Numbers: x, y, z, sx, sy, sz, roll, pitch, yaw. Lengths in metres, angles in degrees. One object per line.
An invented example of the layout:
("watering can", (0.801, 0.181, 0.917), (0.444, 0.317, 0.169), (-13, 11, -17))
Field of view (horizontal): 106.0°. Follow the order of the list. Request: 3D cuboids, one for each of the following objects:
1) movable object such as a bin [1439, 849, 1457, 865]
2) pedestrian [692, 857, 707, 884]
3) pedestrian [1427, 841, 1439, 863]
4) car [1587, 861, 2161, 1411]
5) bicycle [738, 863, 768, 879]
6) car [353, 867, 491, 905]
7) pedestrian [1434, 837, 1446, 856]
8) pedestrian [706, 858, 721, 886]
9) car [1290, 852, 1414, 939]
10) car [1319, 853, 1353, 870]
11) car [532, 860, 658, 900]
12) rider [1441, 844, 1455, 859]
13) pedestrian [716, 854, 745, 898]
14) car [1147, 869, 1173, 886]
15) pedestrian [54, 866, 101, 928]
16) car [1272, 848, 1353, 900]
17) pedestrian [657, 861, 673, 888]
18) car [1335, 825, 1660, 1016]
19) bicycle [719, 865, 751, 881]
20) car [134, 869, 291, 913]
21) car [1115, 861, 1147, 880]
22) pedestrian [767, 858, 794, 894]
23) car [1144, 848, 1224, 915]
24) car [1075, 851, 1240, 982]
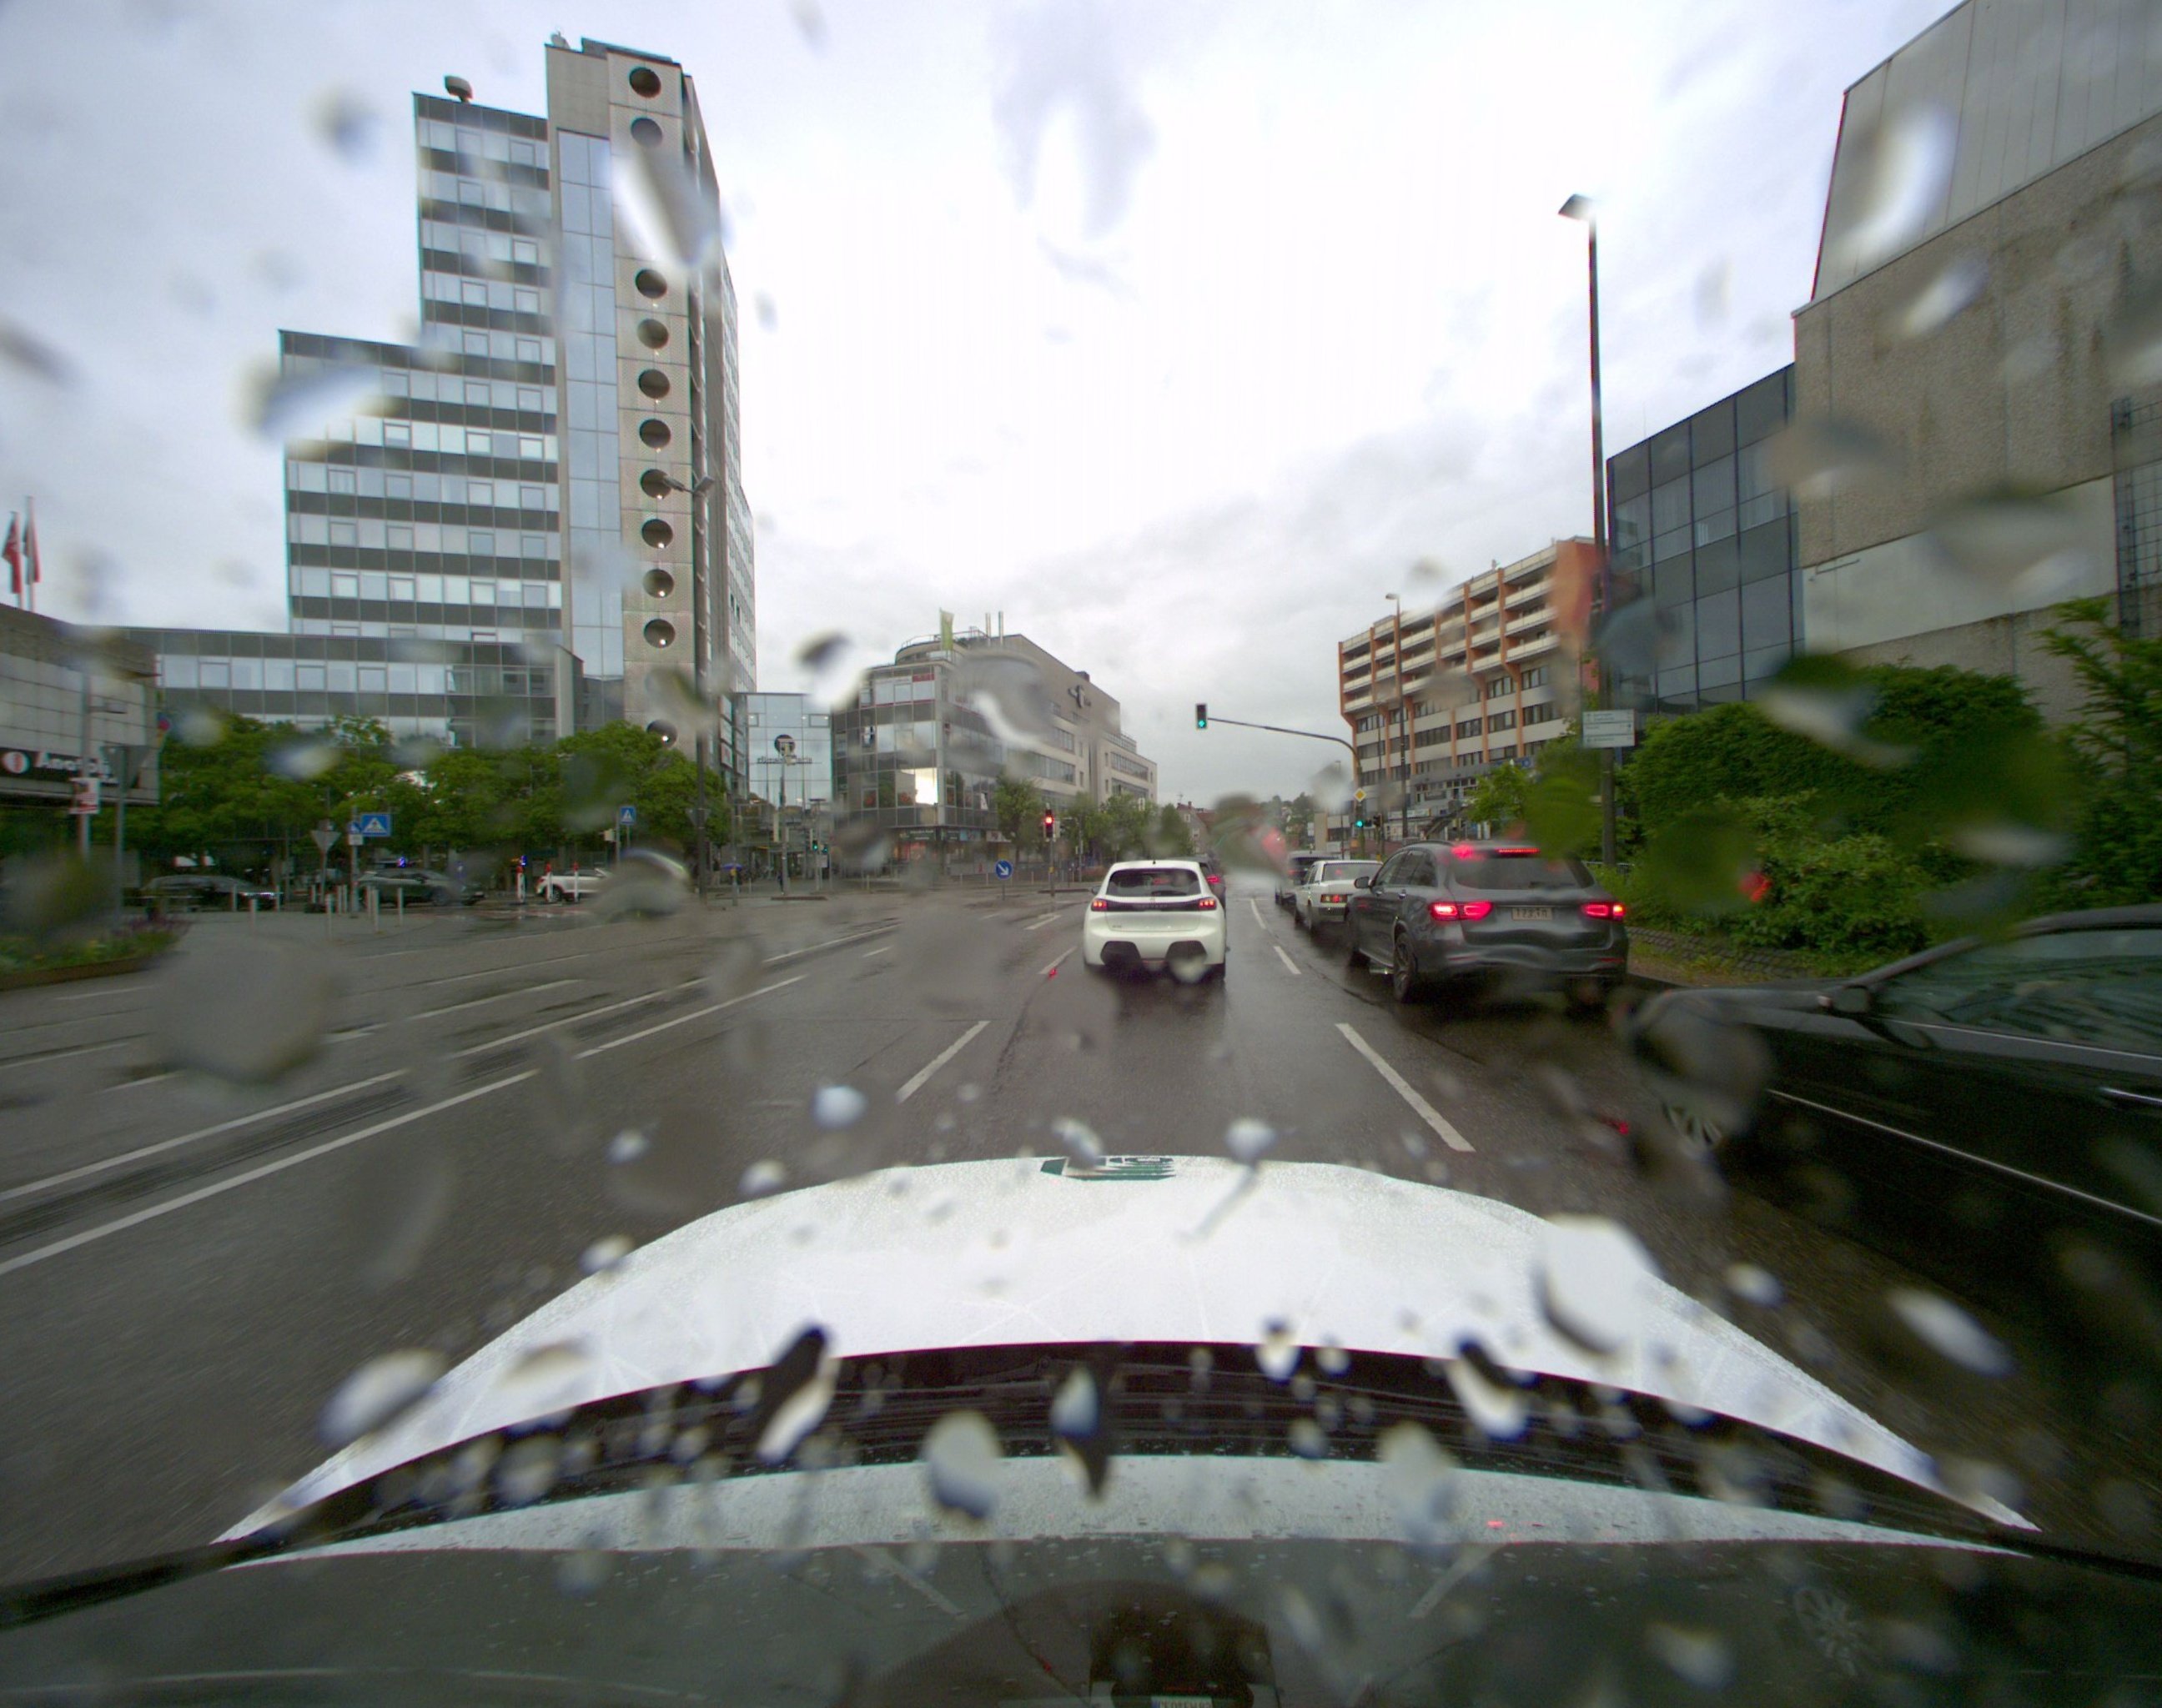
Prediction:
("movable object such as a bin", (32.168, 0.290, 71.373), (1.121, 1.332, 1.460), (-5, -2, 16))
("pedestrian", (-27.480, 1.194, 58.659), (0.832, 1.868, 0.750), (-2, -1, -14))
("pedestrian", (25.945, -0.136, 60.023), (0.701, 1.607, 0.659), (3, 1, 21))
("car", (3.621, 0.736, 2.476), (1.624, 1.386, 4.520), (0, 0, 4))
("bicycle", (-28.003, 1.463, 69.512), (2.278, 1.247, 0.673), (-1, -1, -16))
("car", (-27.295, 1.296, 33.860), (4.042, 1.420, 1.865), (-1, 0, -8))
("pedestrian", (26.552, -0.531, 60.251), (0.702, 1.346, 0.659), (-3, -2, 20))
("pedestrian", (-26.450, 1.278, 58.657), (0.710, 2.013, 0.765), (-1, 0, 0))
("car", (5.118, 0.700, 15.894), (1.624, 1.448, 4.279), (0, 0, 9))
("car", (35.713, 1.113, 114.209), (2.000, 2.226, 4.943), (-2, -1, -19))
("car", (-20.608, 1.083, 34.681), (4.191, 1.595, 1.864), (0, 0, -10))
("rider", (32.103, -0.216, 71.297), (0.915, 1.284, 1.095), (-5, 0, 16))
("pedestrian", (-16.734, 1.037, 38.916), (1.166, 2.013, 1.319), (-1, 0, -21))
("car", (8.322, 2.443, 85.403), (1.760, 1.594, 4.608), (-6, -2, 17))
("pedestrian", (-22.690, 0.961, 18.413), (0.491, 1.348, 0.540), (-1, 0, 22))
("car", (6.738, 0.563, 23.998), (1.900, 1.400, 3.467), (-1, -1, 9))
("pedestrian", (-29.286, 1.423, 57.330), (0.757, 1.868, 0.823), (-1, -1, -41))
("car", (4.242, 0.574, 9.179), (1.891, 1.621, 4.344), (-1, 0, 7))
("bicycle", (-27.490, 1.517, 64.758), (2.278, 1.247, 0.673), (-1, -1, -16))
("car", (-34.676, 1.460, 32.611), (3.984, 1.595, 1.865), (0, 1, -8))
("car", (4.465, 1.430, 71.912), (1.906, 1.632, 4.922), (0, 0, 14))
("pedestrian", (-15.772, 1.159, 42.738), (0.838, 1.819, 1.029), (-2, -1, 18))
("car", (2.667, 0.637, 20.585), (1.804, 1.530, 3.822), (-1, 0, 9))
("car", (1.092, 0.712, 11.162), (1.862, 1.462, 3.880), (0, 0, 7))
